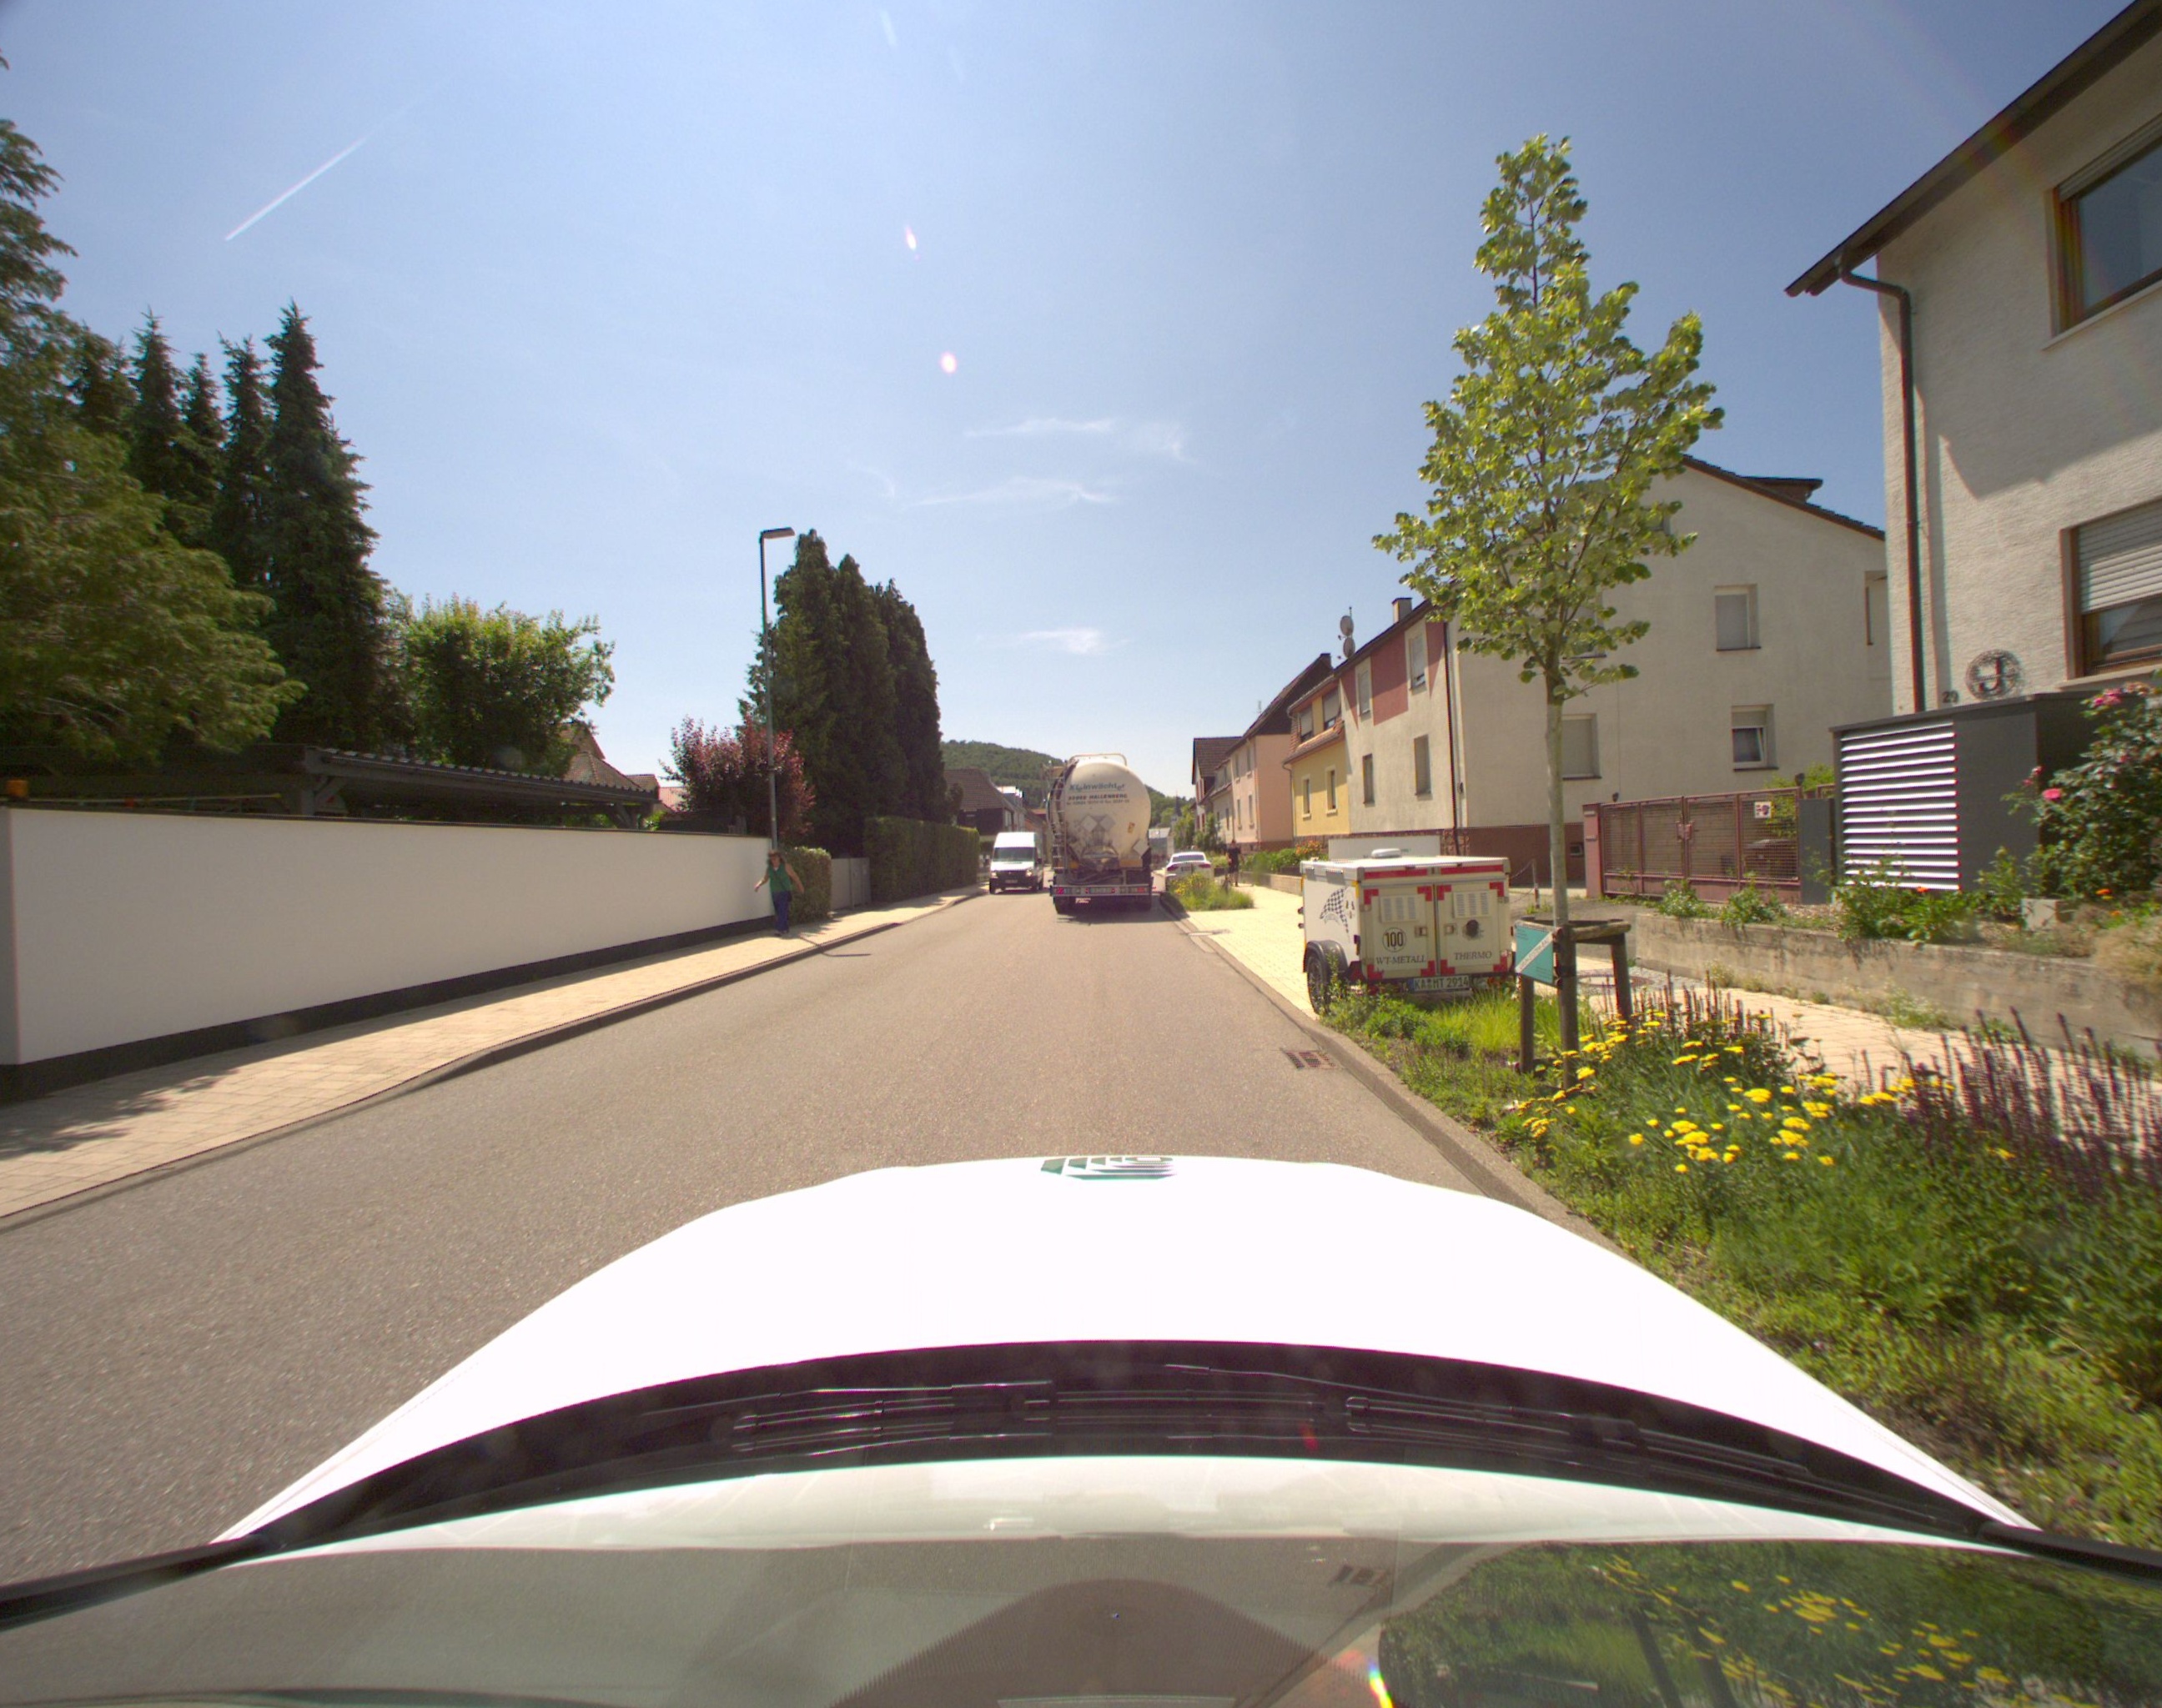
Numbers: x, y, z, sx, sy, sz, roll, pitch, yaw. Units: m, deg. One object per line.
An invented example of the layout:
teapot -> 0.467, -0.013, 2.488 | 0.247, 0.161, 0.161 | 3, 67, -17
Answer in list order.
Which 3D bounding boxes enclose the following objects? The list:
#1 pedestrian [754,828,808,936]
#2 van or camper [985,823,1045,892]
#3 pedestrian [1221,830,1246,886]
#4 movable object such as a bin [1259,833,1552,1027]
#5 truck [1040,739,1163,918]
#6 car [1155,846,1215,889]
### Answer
pedestrian -> -5.737, 0.529, 15.617 | 0.718, 2.014, 0.804 | -1, -1, 0
van or camper -> -2.746, 0.200, 35.220 | 2.030, 2.714, 5.824 | -1, -1, 1
pedestrian -> 5.622, 0.154, 30.094 | 0.743, 2.014, 1.034 | -1, -1, 2
movable object such as a bin -> 2.840, 0.611, 7.815 | 1.566, 1.417, 3.041 | -3, -1, 1
truck -> 0.560, -0.582, 24.163 | 2.740, 4.057, 10.890 | -1, 0, 1
car -> 3.932, 0.537, 31.407 | 1.750, 1.418, 4.633 | -4, -2, 1
